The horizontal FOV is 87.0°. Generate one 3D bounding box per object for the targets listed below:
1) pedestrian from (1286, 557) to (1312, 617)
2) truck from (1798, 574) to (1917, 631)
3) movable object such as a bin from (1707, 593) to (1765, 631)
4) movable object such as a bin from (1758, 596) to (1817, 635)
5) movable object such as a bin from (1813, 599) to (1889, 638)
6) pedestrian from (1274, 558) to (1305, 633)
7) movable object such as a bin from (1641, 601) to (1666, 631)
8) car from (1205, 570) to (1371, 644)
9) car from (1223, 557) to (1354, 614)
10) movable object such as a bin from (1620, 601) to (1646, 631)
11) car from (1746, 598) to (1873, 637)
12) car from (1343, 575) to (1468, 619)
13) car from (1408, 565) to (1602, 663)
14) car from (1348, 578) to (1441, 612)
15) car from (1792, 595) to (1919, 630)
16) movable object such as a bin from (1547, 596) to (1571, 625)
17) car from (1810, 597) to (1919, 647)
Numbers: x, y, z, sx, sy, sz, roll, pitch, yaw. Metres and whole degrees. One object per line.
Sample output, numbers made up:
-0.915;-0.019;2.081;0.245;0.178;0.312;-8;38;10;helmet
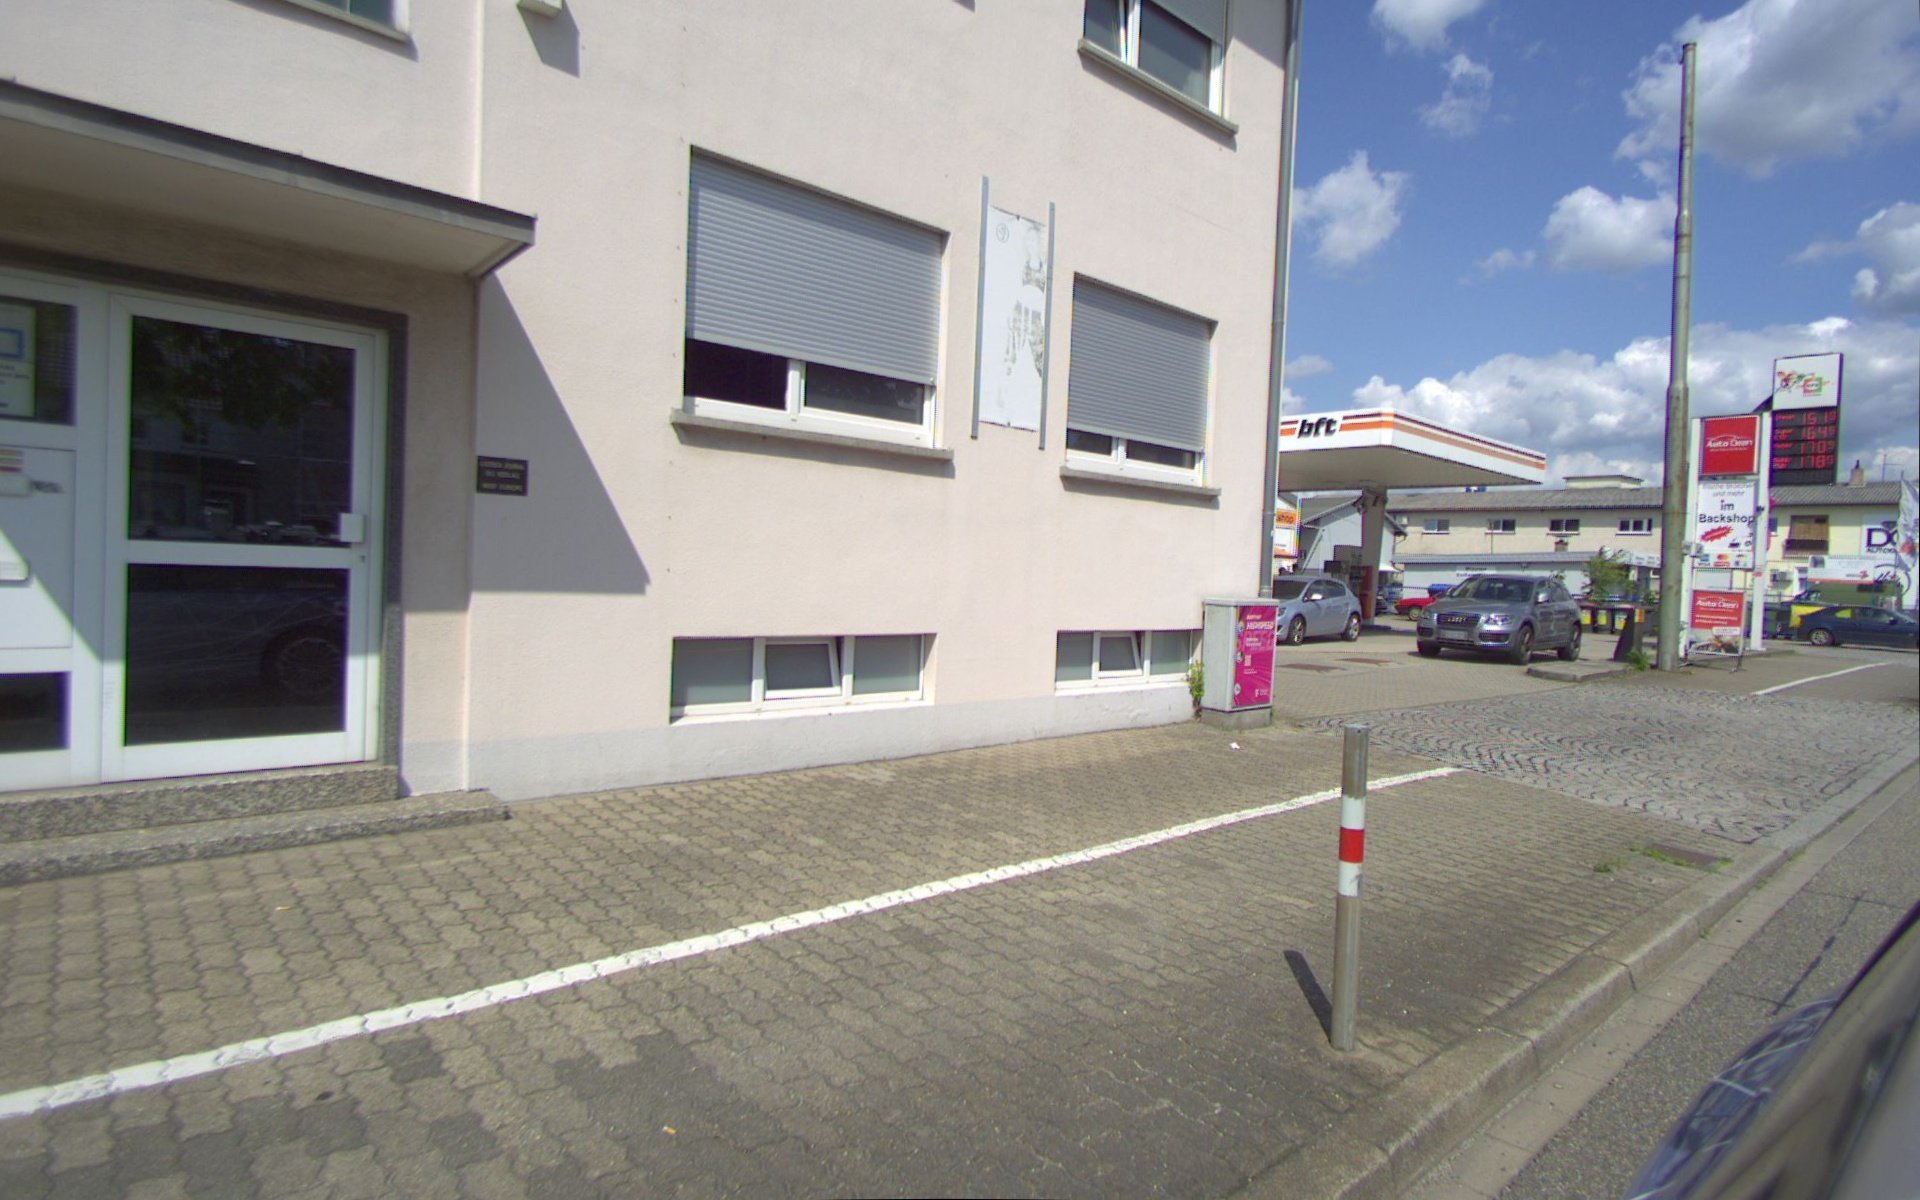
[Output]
9.992;-0.393;29.803;0.679;1.744;0.614;1;0;23;pedestrian
44.732;0.073;50.514;2.071;2.694;4.180;0;1;-39;truck
30.838;0.465;40.203;1.735;1.427;1.534;0;1;-42;movable object such as a bin
31.928;0.586;39.045;1.735;1.427;1.534;0;1;-42;movable object such as a bin
33.448;0.658;37.996;1.679;1.364;1.966;0;1;-41;movable object such as a bin
8.105;-0.115;24.867;0.568;1.799;0.497;0;0;-43;pedestrian
23.981;0.554;35.003;0.694;1.023;0.581;0;1;-42;movable object such as a bin
7.435;0.100;22.726;4.350;1.489;1.693;-1;2;-44;car
10.000;-0.420;30.643;4.414;1.538;1.686;1;2;-41;car
23.580;0.544;35.457;0.694;1.023;0.581;0;1;-42;movable object such as a bin
37.016;0.737;44.203;1.592;1.481;3.918;0;2;-24;car
17.462;-0.151;39.816;1.740;1.442;4.146;0;4;-39;car
10.729;0.216;19.781;4.538;1.645;1.948;0;3;-43;car
18.551;-0.229;43.304;1.461;1.240;3.311;0;4;-39;car
42.818;0.552;48.488;1.792;1.526;4.266;0;1;-33;car
22.121;0.381;37.343;0.694;1.023;0.581;0;1;-42;movable object such as a bin
29.865;0.702;32.140;1.616;1.425;4.068;0;2;-34;car
